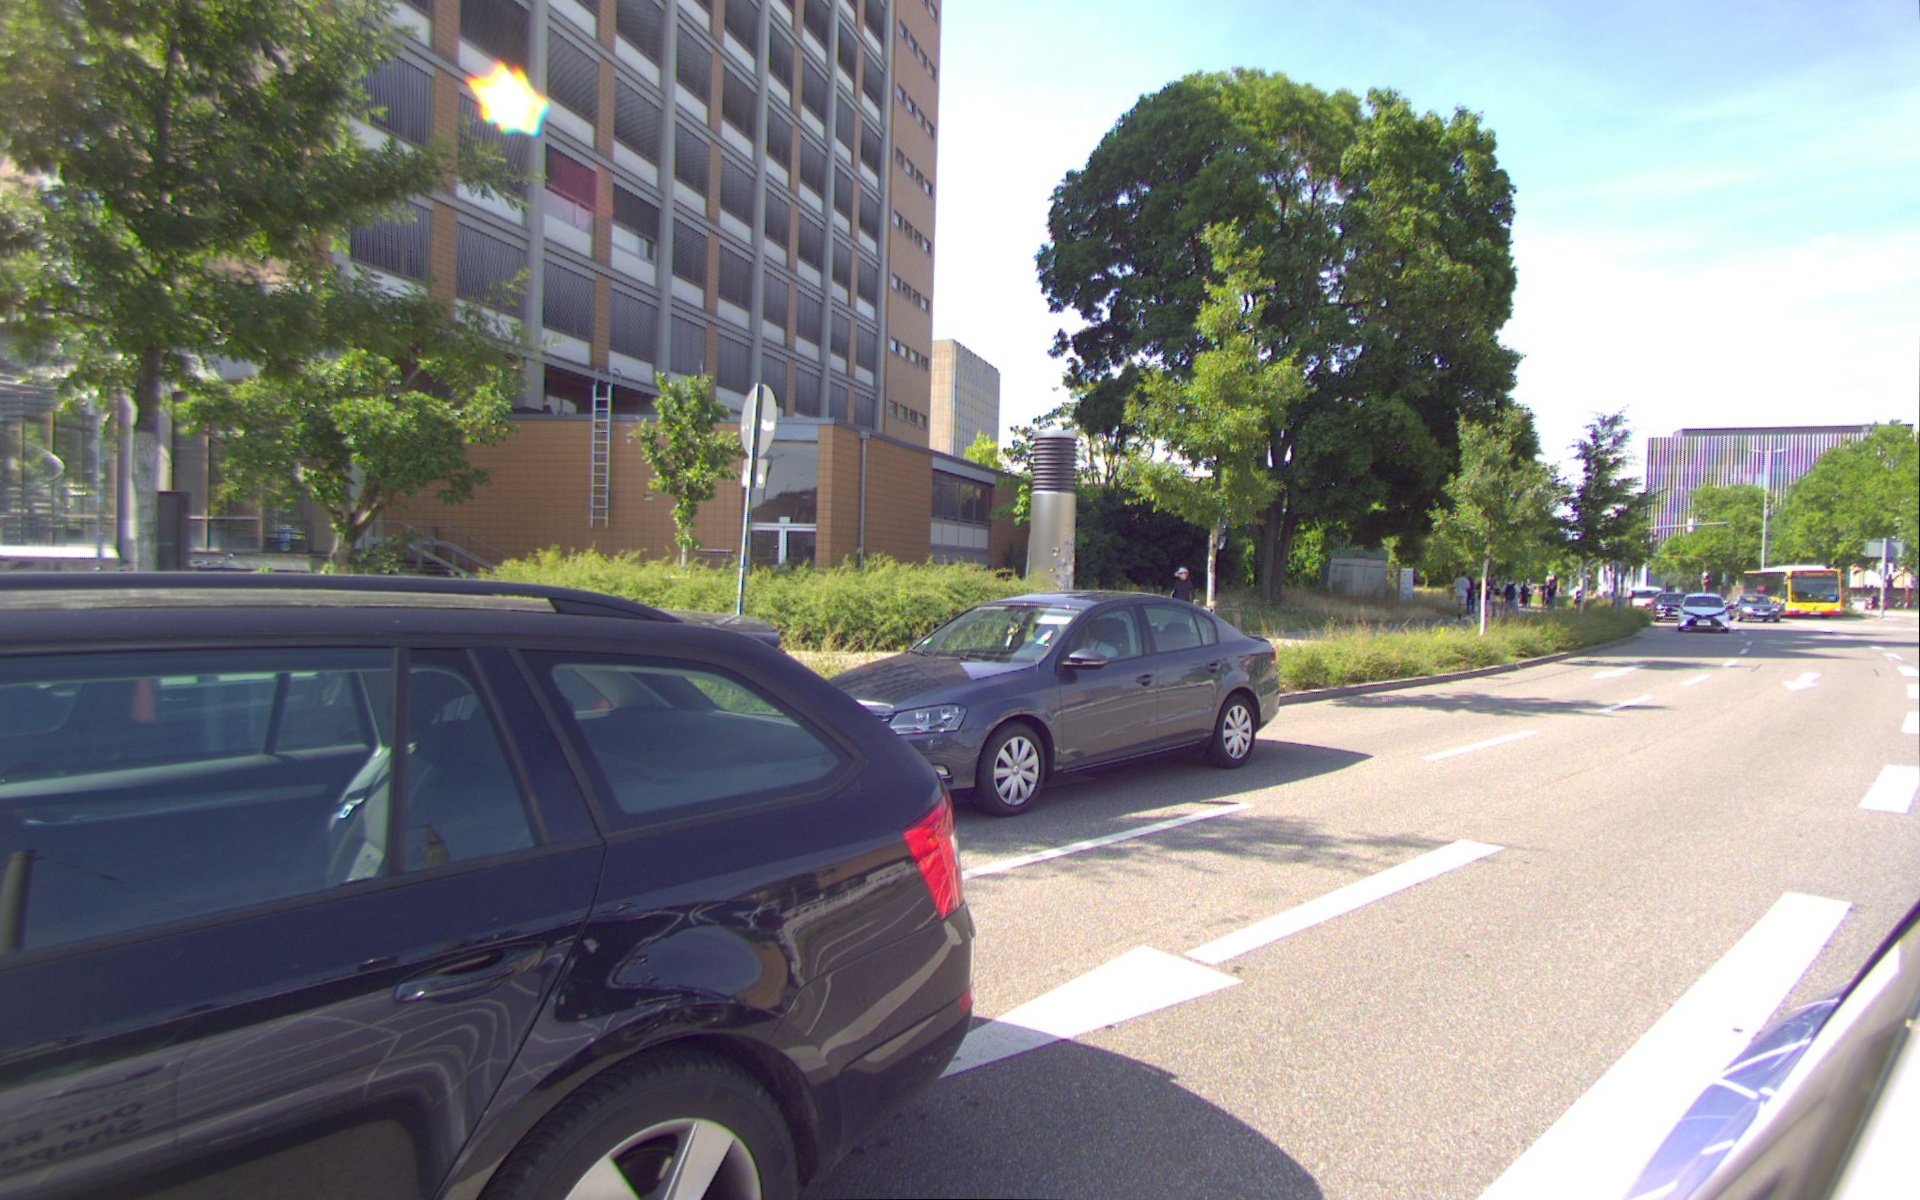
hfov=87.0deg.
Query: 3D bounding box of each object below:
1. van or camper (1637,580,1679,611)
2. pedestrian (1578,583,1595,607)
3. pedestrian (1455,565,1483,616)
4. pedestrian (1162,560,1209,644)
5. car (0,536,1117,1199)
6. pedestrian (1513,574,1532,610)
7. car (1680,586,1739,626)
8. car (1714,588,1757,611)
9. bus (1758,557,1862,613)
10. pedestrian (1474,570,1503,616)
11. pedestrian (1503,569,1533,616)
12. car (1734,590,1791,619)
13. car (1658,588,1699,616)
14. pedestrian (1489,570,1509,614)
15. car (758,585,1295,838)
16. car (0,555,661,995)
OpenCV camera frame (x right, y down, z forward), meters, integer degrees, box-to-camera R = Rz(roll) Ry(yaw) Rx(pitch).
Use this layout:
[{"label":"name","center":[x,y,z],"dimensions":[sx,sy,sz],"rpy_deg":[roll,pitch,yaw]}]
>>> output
[{"label":"van or camper","center":[44.242,-0.296,64.213],"dimensions":[1.715,1.911,4.872],"rpy_deg":[0,1,29]},{"label":"pedestrian","center":[31.057,-0.267,50.171],"dimensions":[0.639,1.145,0.743],"rpy_deg":[4,3,33]},{"label":"pedestrian","center":[18.951,-0.369,37.677],"dimensions":[0.719,1.860,0.643],"rpy_deg":[0,3,-41]},{"label":"pedestrian","center":[4.674,0.020,20.965],"dimensions":[0.719,1.684,0.592],"rpy_deg":[0,3,-41]},{"label":"car","center":[-1.878,0.640,1.593],"dimensions":[4.698,1.453,1.633],"rpy_deg":[-1,1,-42]},{"label":"pedestrian","center":[23.536,-0.330,42.360],"dimensions":[0.638,1.464,0.564],"rpy_deg":[3,3,28]},{"label":"car","center":[29.217,0.192,39.547],"dimensions":[1.671,1.493,3.714],"rpy_deg":[0,1,34]},{"label":"car","center":[47.105,-0.029,61.554],"dimensions":[1.477,1.310,3.452],"rpy_deg":[2,2,28]},{"label":"bus","center":[51.633,-0.898,61.830],"dimensions":[2.774,3.076,12.017],"rpy_deg":[2,2,30]},{"label":"pedestrian","center":[19.413,-0.259,37.152],"dimensions":[0.719,1.646,0.643],"rpy_deg":[0,3,-41]},{"label":"pedestrian","center":[20.422,-0.283,37.035],"dimensions":[0.739,1.694,0.643],"rpy_deg":[0,3,-41]},{"label":"car","center":[42.324,0.208,53.443],"dimensions":[1.636,1.442,4.080],"rpy_deg":[0,1,28]},{"label":"car","center":[36.630,0.078,51.675],"dimensions":[1.399,1.311,3.542],"rpy_deg":[2,2,31]},{"label":"pedestrian","center":[22.772,-0.342,42.758],"dimensions":[0.638,1.785,0.470],"rpy_deg":[3,3,28]},{"label":"car","center":[0.763,0.618,8.009],"dimensions":[4.452,1.453,1.633],"rpy_deg":[-1,1,-42]},{"label":"car","center":[-3.639,0.564,4.160],"dimensions":[4.326,1.447,1.701],"rpy_deg":[0,2,-45]}]
